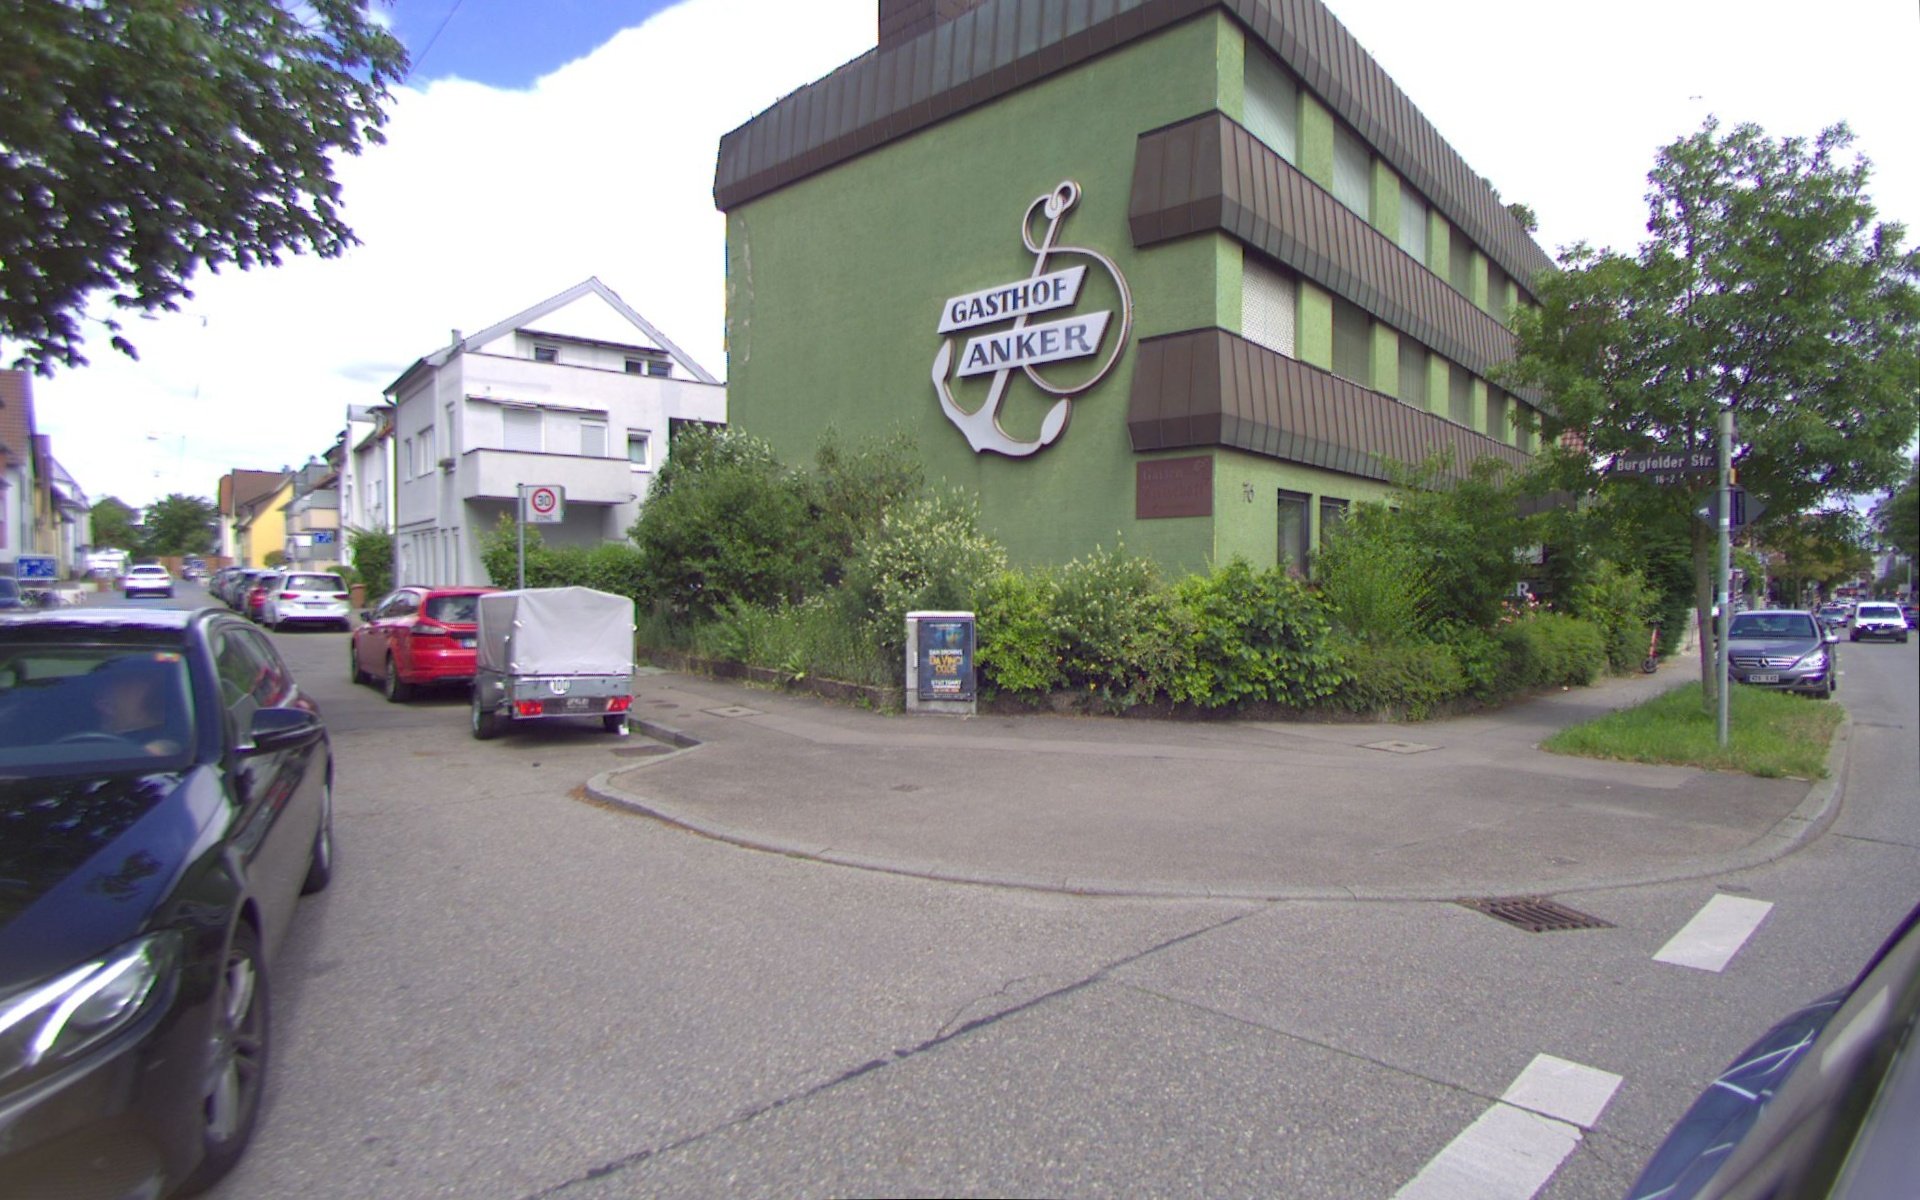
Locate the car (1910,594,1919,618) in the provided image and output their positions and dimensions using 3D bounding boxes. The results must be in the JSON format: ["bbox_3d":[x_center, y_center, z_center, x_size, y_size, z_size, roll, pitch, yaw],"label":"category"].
[{"bbox_3d":[68.607,0.473,71.537,1.864,1.638,4.467,2,1,41],"label":"car"}]

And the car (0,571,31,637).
[{"bbox_3d":[-22.845,0.061,23.640,1.551,1.464,3.600,-1,2,-41],"label":"car"}]

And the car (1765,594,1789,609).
[{"bbox_3d":[79.764,0.130,98.838,1.781,1.332,4.420,2,2,38],"label":"car"}]

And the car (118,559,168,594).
[{"bbox_3d":[-39.943,-1.122,49.462,1.819,1.613,3.667,-1,0,-40],"label":"car"}]

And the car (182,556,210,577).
[{"bbox_3d":[-68.714,-2.960,90.982,1.819,1.777,3.667,-1,0,-40],"label":"car"}]

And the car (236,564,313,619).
[{"bbox_3d":[-21.738,-0.310,32.036,1.701,1.627,3.977,-1,2,-39],"label":"car"}]

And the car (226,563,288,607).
[{"bbox_3d":[-27.566,-0.643,39.620,1.701,1.627,3.977,-1,2,-39],"label":"car"}]

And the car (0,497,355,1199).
[{"bbox_3d":[-3.383,0.656,3.636,1.773,1.649,4.693,-1,0,-27],"label":"car"}]

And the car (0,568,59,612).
[{"bbox_3d":[-32.343,-0.380,35.103,1.551,1.464,3.600,-1,2,-41],"label":"car"}]

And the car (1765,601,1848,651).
[{"bbox_3d":[28.082,0.802,33.551,1.983,1.466,4.681,1,1,41],"label":"car"}]

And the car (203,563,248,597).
[{"bbox_3d":[-36.806,-1.031,50.677,1.700,1.627,3.978,-1,2,-38],"label":"car"}]

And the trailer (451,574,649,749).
[{"bbox_3d":[-4.684,0.565,11.337,1.366,1.601,3.170,1,2,-35],"label":"trailer"}]

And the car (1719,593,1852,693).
[{"bbox_3d":[15.945,0.771,19.467,1.690,1.687,4.392,1,0,43],"label":"car"}]

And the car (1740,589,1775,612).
[{"bbox_3d":[63.988,0.019,81.177,1.617,1.614,4.093,9,6,44],"label":"car"}]

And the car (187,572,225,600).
[{"bbox_3d":[-46.104,-0.907,61.892,1.701,1.627,3.977,-1,2,-39],"label":"car"}]

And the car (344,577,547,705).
[{"bbox_3d":[-7.347,0.439,14.229,1.701,1.463,4.252,-1,2,-39],"label":"car"}]

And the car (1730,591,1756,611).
[{"bbox_3d":[69.151,0.035,89.364,1.632,1.546,4.146,6,5,38],"label":"car"}]

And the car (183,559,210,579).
[{"bbox_3d":[-72.564,-2.949,96.166,1.819,1.777,3.667,-1,0,-40],"label":"car"}]

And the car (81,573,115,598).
[{"bbox_3d":[-52.455,-0.909,61.577,1.551,1.464,3.600,-1,2,-41],"label":"car"}]

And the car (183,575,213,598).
[{"bbox_3d":[-56.141,-1.002,74.550,1.700,1.627,3.978,-1,2,-38],"label":"car"}]

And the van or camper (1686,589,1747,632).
[{"bbox_3d":[38.492,0.487,51.466,1.867,2.057,4.474,-1,0,45],"label":"van or camper"}]

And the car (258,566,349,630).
[{"bbox_3d":[-18.211,-0.116,27.995,1.701,1.627,3.977,-1,2,-39],"label":"car"}]

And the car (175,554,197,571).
[{"bbox_3d":[-84.741,-4.106,110.790,1.819,1.777,3.667,-1,0,-40],"label":"car"}]

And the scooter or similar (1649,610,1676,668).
[{"bbox_3d":[16.592,0.909,23.884,0.300,1.321,1.383,4,2,41],"label":"scooter or similar"}]

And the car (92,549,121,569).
[{"bbox_3d":[-66.397,-3.188,78.734,1.692,1.464,3.601,-1,2,-40],"label":"car"}]

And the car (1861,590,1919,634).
[{"bbox_3d":[41.805,0.492,45.440,1.959,1.830,4.363,-1,0,41],"label":"car"}]
